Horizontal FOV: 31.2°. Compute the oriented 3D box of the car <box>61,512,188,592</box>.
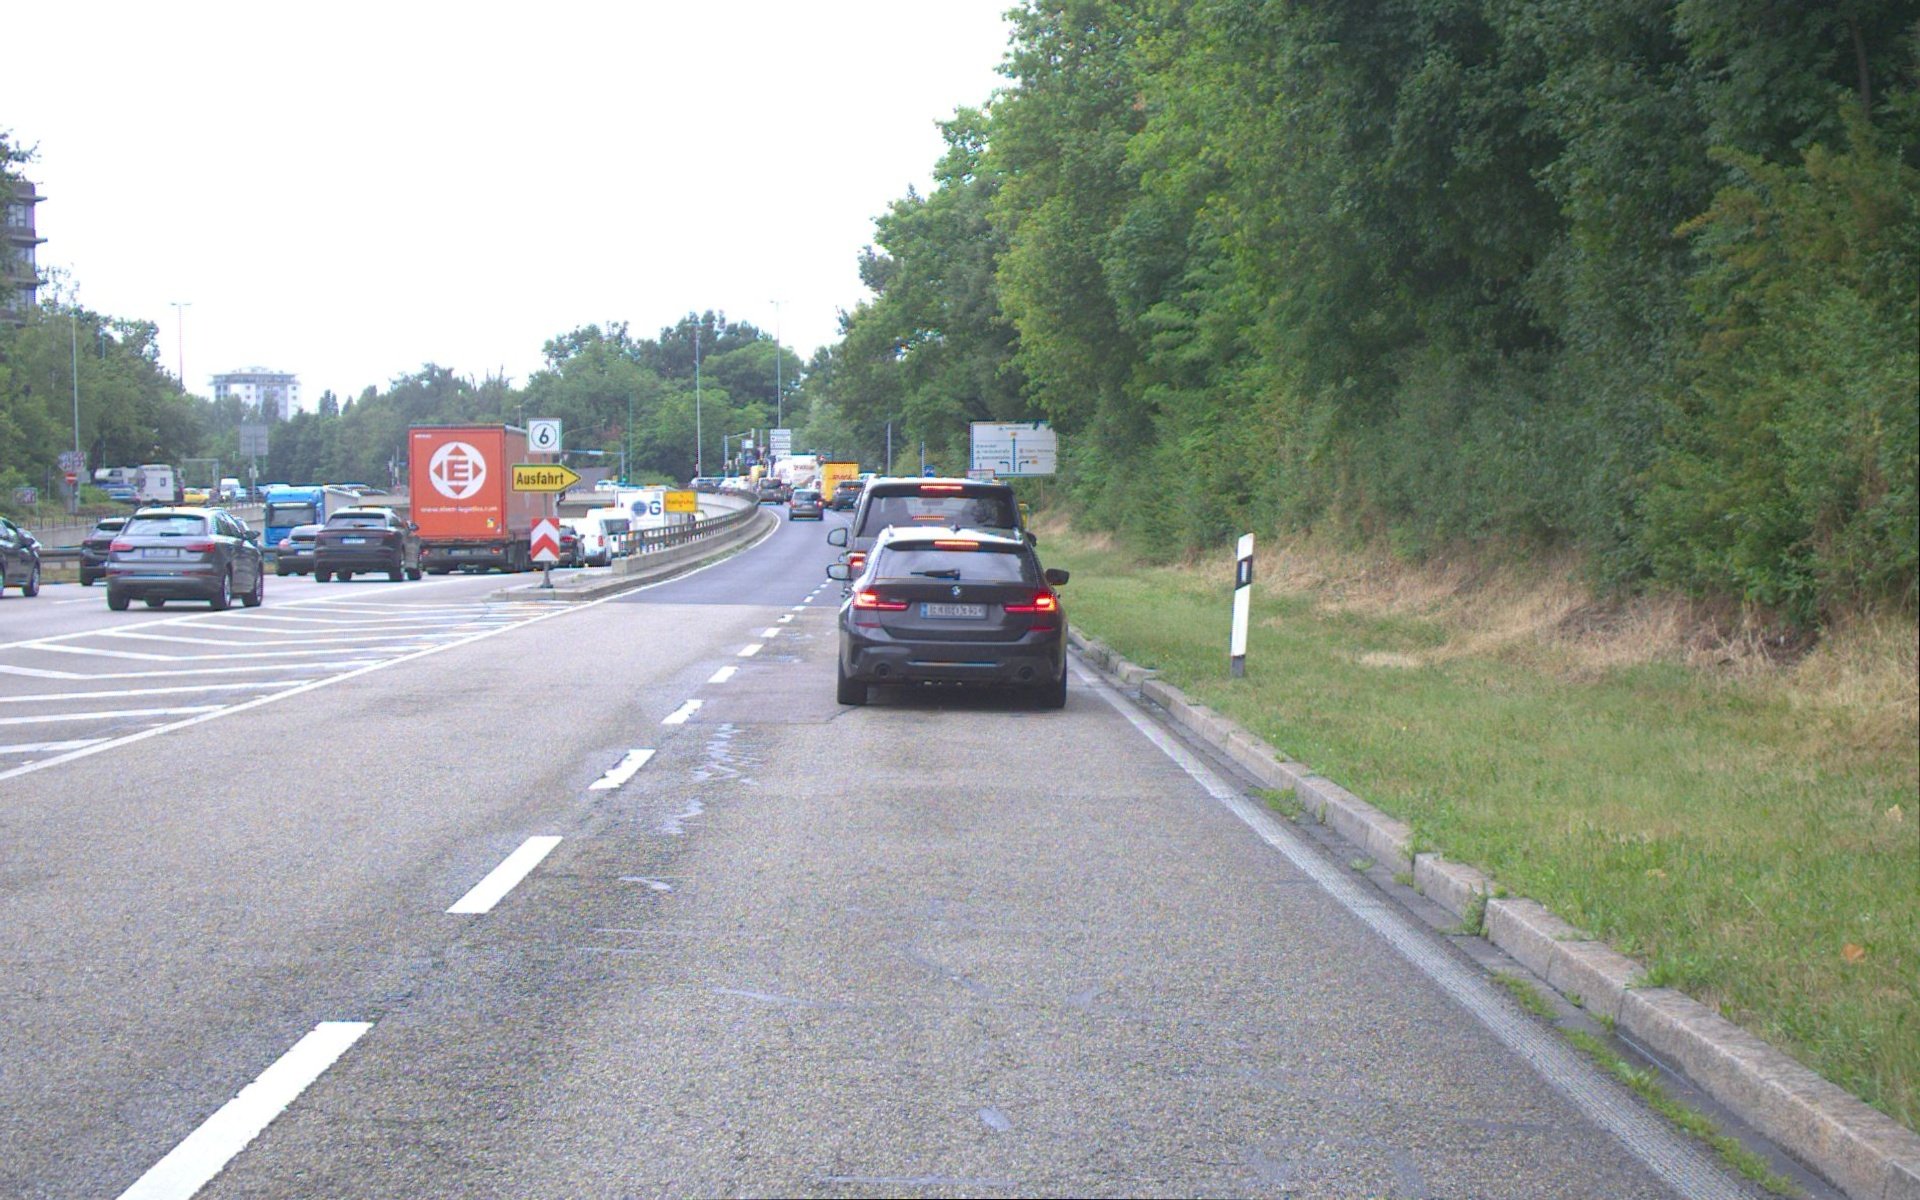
[{"bbox_3d":[-17.908,-1.022,73.821,1.859,1.612,4.000,1,1,-2],"label":"car"}]

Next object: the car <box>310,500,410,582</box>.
[{"bbox_3d":[-13.835,-1.360,79.486,1.860,1.809,4.001,1,0,-4],"label":"car"}]

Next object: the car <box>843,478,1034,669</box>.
[{"bbox_3d":[-0.233,-0.273,35.418,1.822,1.815,4.000,1,0,-1],"label":"car"}]

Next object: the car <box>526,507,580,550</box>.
[{"bbox_3d":[-14.274,-2.513,120.717,1.777,1.477,4.001,0,1,-5],"label":"car"}]

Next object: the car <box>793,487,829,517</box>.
[{"bbox_3d":[-7.711,-5.036,177.358,1.825,1.477,4.001,1,1,-3],"label":"car"}]

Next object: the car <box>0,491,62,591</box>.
[{"bbox_3d":[-17.147,-1.045,60.642,1.717,1.710,4.000,1,0,-3],"label":"car"}]

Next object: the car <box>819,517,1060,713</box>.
[{"bbox_3d":[-0.216,0.067,28.233,1.825,1.477,4.001,0,1,-2],"label":"car"}]

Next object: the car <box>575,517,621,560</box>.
[{"bbox_3d":[-13.703,-2.326,130.166,1.556,1.547,3.818,1,1,-4],"label":"car"}]

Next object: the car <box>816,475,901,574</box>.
[{"bbox_3d":[-2.156,-1.596,72.322,1.604,2.007,4.001,0,1,-4],"label":"car"}]

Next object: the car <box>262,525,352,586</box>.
[{"bbox_3d":[-18.147,-1.229,95.660,1.859,1.612,4.000,1,1,-2],"label":"car"}]

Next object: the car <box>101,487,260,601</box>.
[{"bbox_3d":[-12.079,-0.859,53.506,1.717,1.678,4.000,1,0,-3],"label":"car"}]

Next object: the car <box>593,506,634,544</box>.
[{"bbox_3d":[-14.700,-3.193,145.923,1.556,1.546,4.001,0,1,-4],"label":"car"}]

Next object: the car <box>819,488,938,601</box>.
[{"bbox_3d":[-1.534,-1.039,63.336,1.993,2.007,4.001,0,1,-4],"label":"car"}]

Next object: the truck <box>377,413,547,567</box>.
[{"bbox_3d":[-13.981,-3.065,97.711,3.489,4.059,13.594,0,1,-3],"label":"truck"}]
